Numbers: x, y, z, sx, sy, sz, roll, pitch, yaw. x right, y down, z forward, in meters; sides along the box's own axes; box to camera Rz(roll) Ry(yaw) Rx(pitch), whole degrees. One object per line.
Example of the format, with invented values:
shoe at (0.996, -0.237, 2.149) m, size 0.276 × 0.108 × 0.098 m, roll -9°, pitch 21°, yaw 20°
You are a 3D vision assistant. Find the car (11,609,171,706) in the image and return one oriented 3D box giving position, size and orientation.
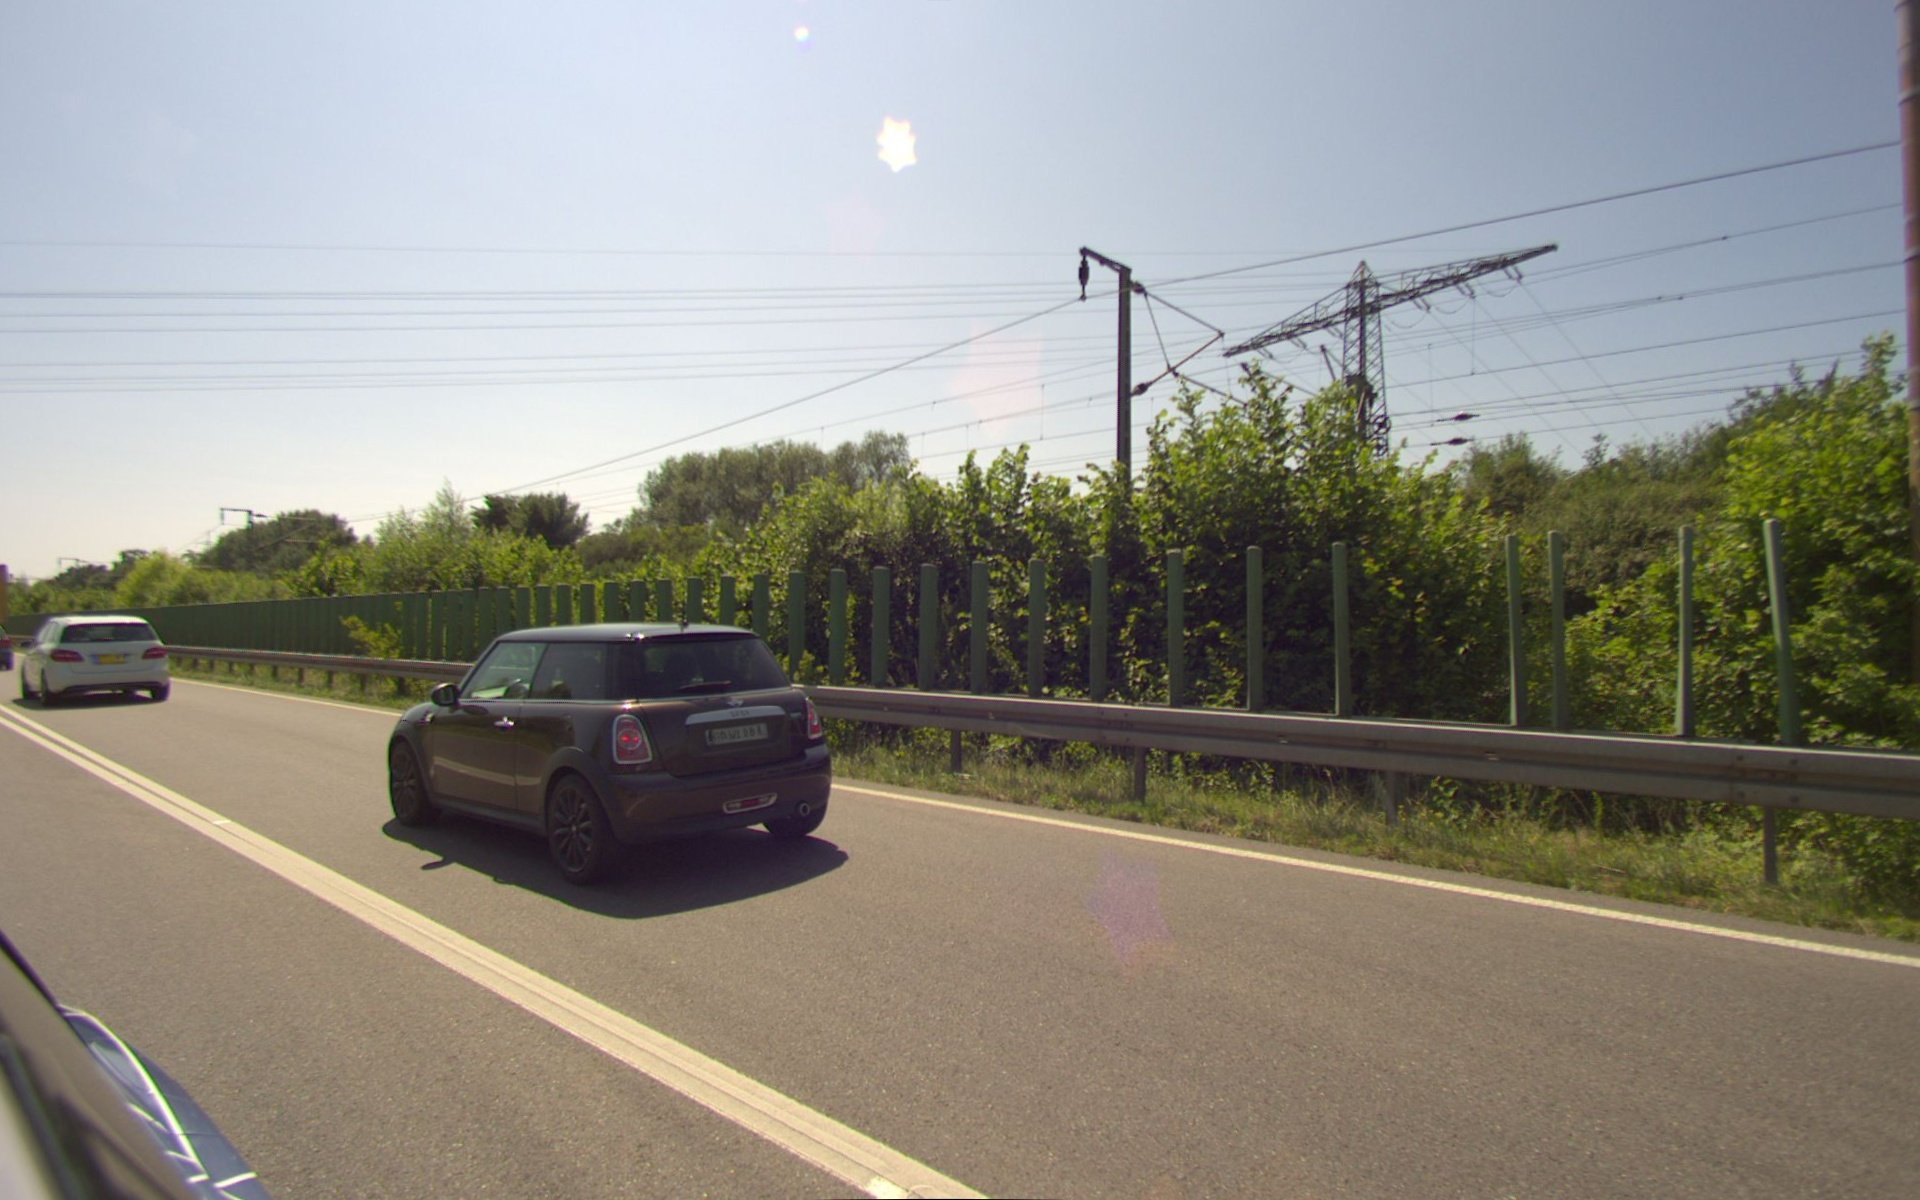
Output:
car at (-16.542, 1.017, 19.190) m, size 4.322 × 1.617 × 1.805 m, roll -1°, pitch -1°, yaw 42°

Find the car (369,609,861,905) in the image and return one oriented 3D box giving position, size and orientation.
car at (-2.484, 0.806, 6.783) m, size 3.741 × 1.446 × 1.490 m, roll -1°, pitch -1°, yaw 42°

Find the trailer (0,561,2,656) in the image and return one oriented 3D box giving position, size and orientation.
trailer at (-46.400, 0.465, 46.622) m, size 9.224 × 4.176 × 2.521 m, roll -1°, pitch -1°, yaw 42°

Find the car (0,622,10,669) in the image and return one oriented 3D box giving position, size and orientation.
car at (-31.392, 1.435, 32.011) m, size 3.792 × 1.452 × 1.598 m, roll -1°, pitch -1°, yaw 41°
